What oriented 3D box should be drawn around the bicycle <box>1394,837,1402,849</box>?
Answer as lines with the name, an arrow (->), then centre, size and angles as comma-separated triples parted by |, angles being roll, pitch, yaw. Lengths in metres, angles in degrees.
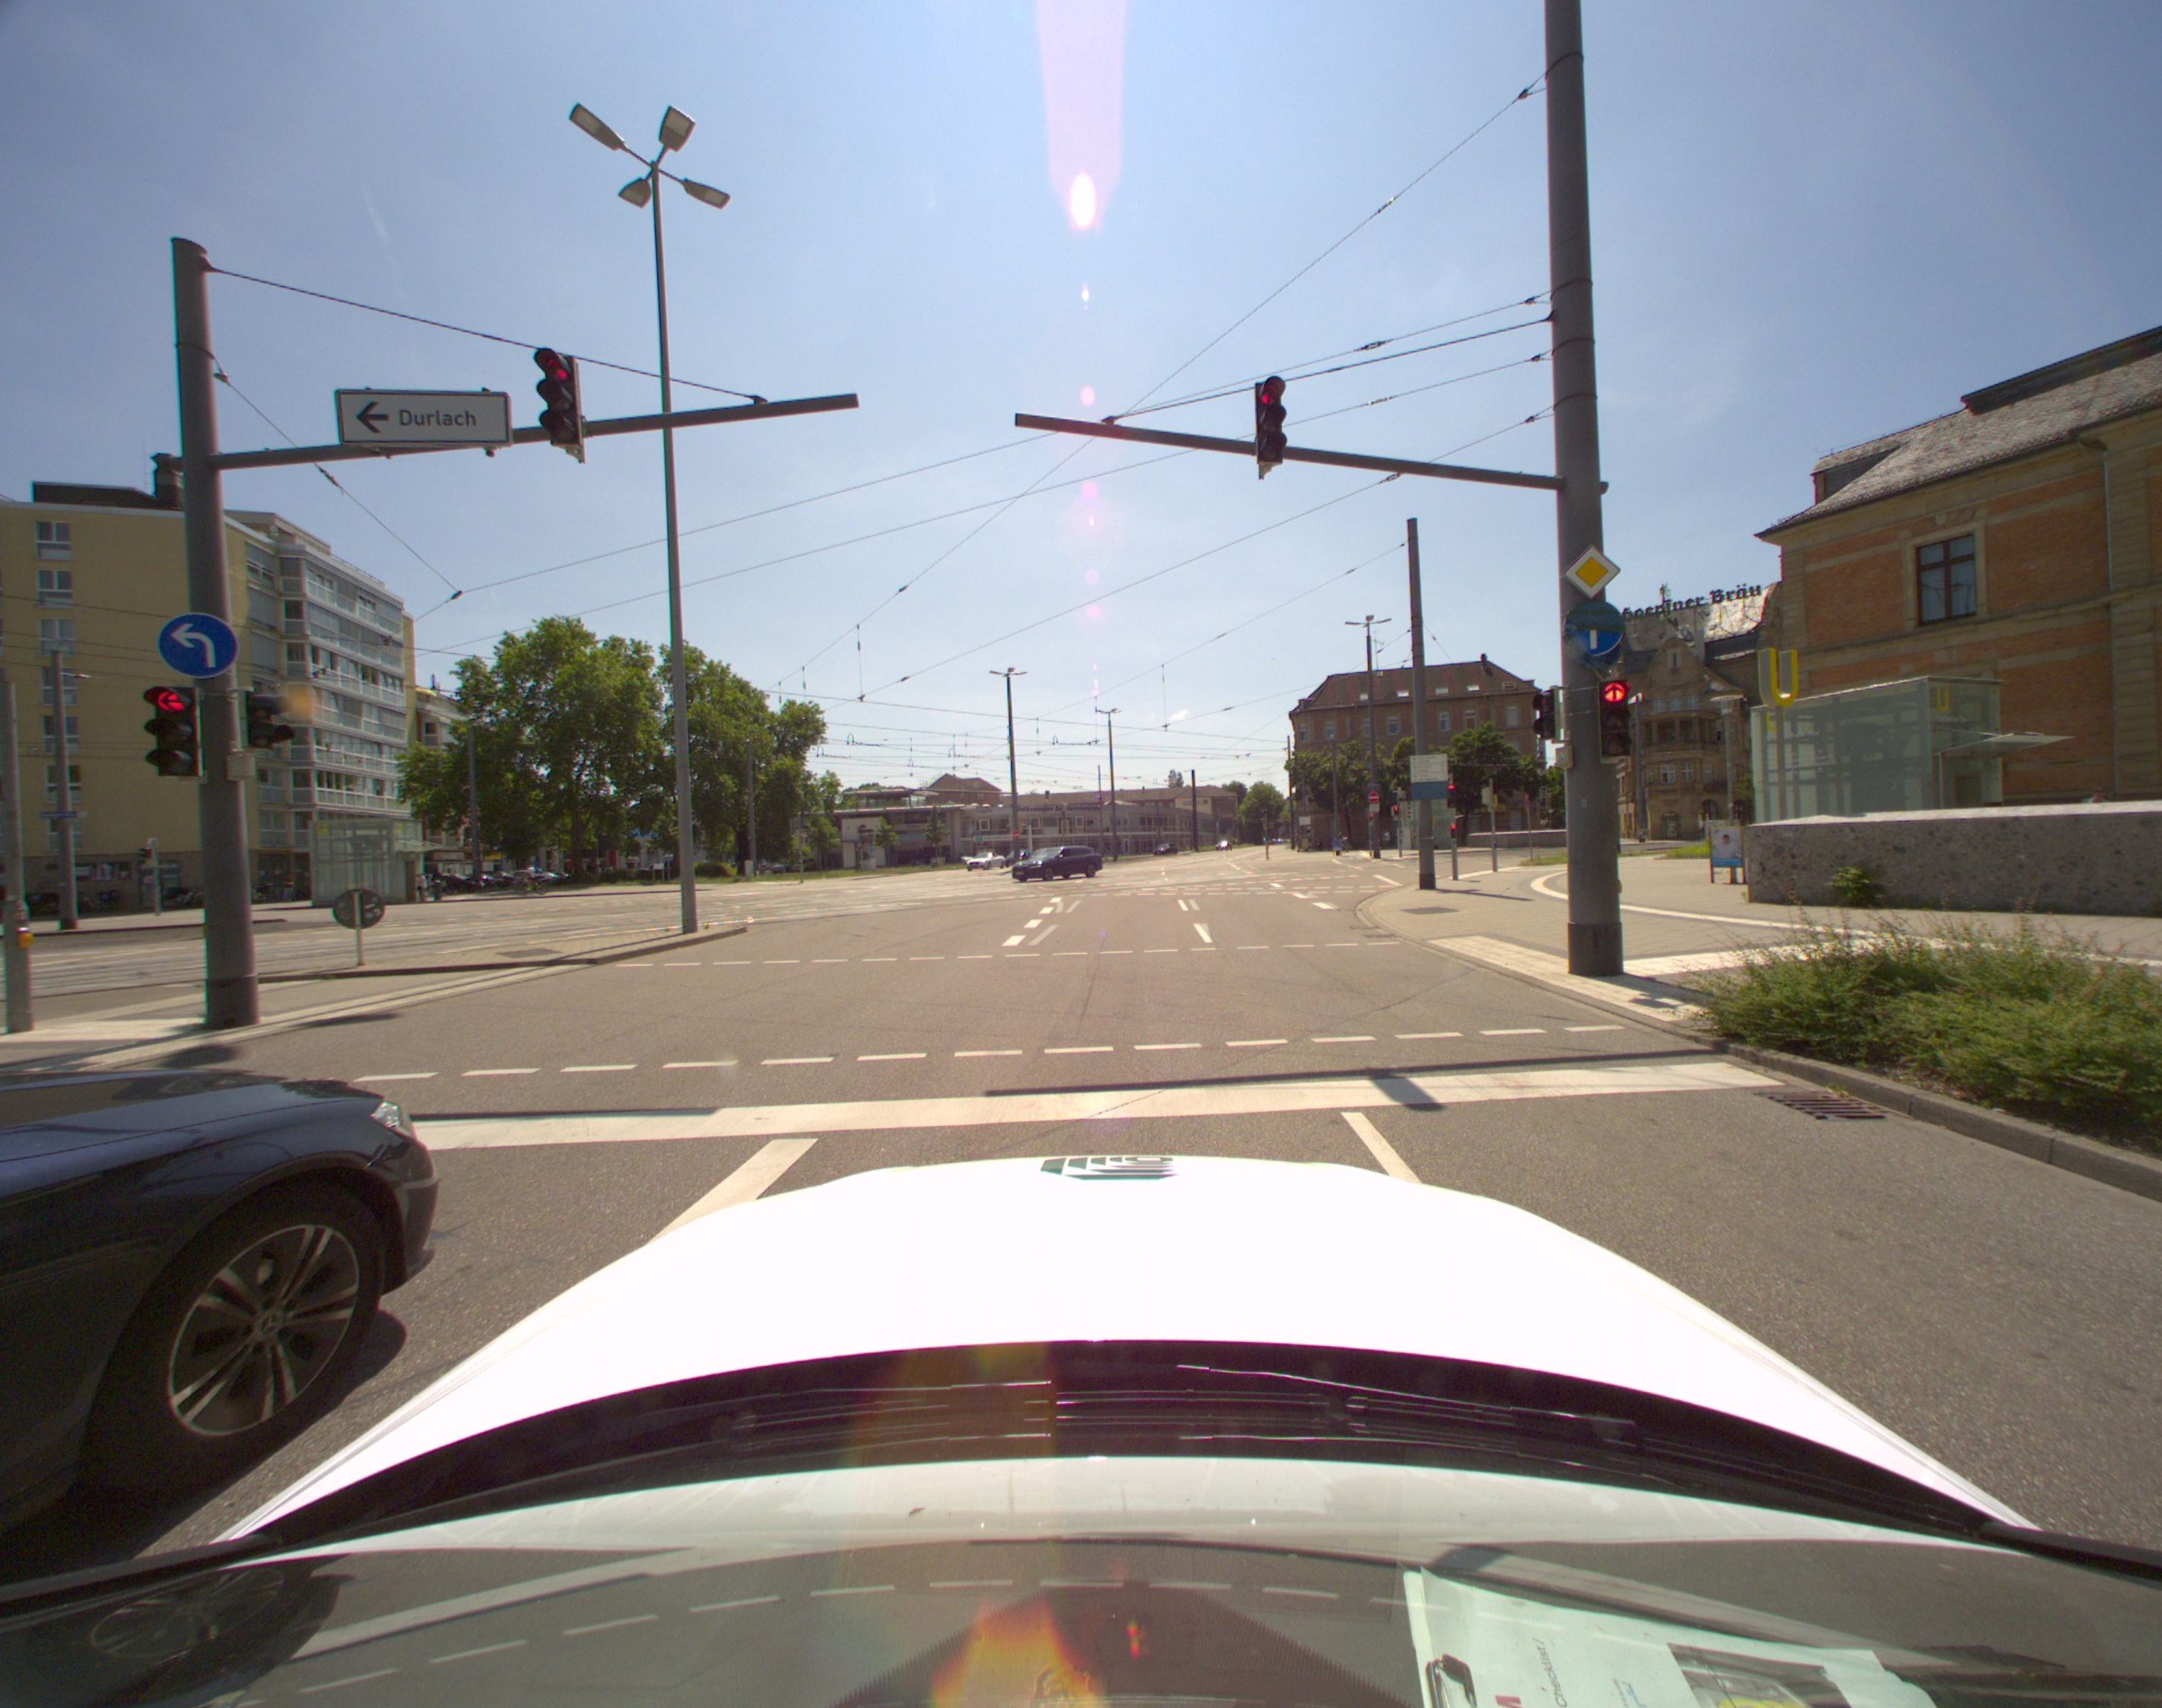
bicycle -> 30.479, -1.027, 78.290 | 0.546, 1.120, 1.938 | -2, 0, 18

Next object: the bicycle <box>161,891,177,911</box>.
bicycle -> -51.715, 2.655, 46.198 | 0.435, 1.026, 1.426 | -2, 0, -42

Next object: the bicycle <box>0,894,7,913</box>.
bicycle -> -58.953, 2.694, 44.244 | 0.435, 1.026, 1.426 | -2, 0, -42

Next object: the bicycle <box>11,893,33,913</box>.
bicycle -> -57.882, 2.688, 44.522 | 0.435, 1.026, 1.426 | -2, 0, -42

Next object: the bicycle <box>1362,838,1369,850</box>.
bicycle -> 27.502, -0.970, 78.626 | 0.546, 1.119, 1.829 | -2, 0, 18

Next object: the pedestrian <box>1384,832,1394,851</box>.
pedestrian -> 27.354, -1.092, 72.396 | 0.463, 1.708, 0.634 | -2, 0, -28

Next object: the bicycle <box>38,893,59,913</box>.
bicycle -> -56.939, 2.684, 44.918 | 0.435, 1.026, 1.426 | -2, 0, -42

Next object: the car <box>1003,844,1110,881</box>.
car -> -1.047, 0.368, 37.519 | 1.975, 1.465, 4.875 | -2, 0, 45

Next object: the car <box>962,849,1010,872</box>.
car -> -7.521, 0.477, 64.903 | 2.061, 1.580, 4.866 | -2, 0, 15

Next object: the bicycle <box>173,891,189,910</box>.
bicycle -> -51.250, 2.653, 46.367 | 0.435, 1.026, 1.426 | -2, 0, -42

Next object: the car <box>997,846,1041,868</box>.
car -> -5.376, 0.232, 70.997 | 1.977, 1.700, 4.870 | -2, 0, 19

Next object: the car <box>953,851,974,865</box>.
car -> -14.541, 0.519, 100.838 | 1.913, 1.707, 4.002 | 0, 0, 2

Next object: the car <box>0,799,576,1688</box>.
car -> -2.951, 0.758, 0.712 | 1.790, 1.640, 4.808 | -2, 0, 2

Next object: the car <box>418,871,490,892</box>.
car -> -49.118, 2.114, 63.896 | 3.998, 1.420, 1.988 | -2, 0, -18

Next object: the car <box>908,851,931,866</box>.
car -> -20.028, 0.562, 101.151 | 1.913, 1.707, 4.002 | 0, 0, 2

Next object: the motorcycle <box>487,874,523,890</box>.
motorcycle -> -39.353, 1.932, 55.679 | 1.925, 0.961, 0.521 | -3, 0, -29

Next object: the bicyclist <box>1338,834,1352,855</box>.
bicyclist -> 22.082, -0.794, 68.062 | 1.065, 1.808, 0.475 | 0, -1, -23

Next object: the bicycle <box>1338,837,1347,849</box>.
bicycle -> 25.564, -1.033, 79.591 | 0.440, 1.146, 2.099 | -1, 0, 9

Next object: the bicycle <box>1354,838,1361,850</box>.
bicycle -> 26.684, -0.936, 78.579 | 0.546, 1.119, 1.830 | -2, 0, 22

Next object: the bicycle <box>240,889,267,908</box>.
bicycle -> -49.302, 2.654, 48.532 | 0.432, 1.026, 1.437 | -2, 0, -14

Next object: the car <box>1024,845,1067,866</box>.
car -> -2.939, 0.088, 69.067 | 1.977, 1.637, 4.870 | -2, 0, 19

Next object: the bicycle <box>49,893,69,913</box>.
bicycle -> -56.433, 2.681, 44.992 | 0.435, 1.026, 1.426 | -2, 0, -42

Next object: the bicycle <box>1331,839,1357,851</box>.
bicycle -> 21.981, -0.745, 68.021 | 2.115, 1.052, 0.687 | 0, -1, -23

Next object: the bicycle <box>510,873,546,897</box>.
bicycle -> -31.471, 1.758, 46.367 | 1.508, 1.216, 0.713 | -2, 0, -16

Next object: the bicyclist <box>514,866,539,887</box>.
bicyclist -> -31.551, 1.274, 46.340 | 0.927, 1.142, 0.713 | -2, 0, -15

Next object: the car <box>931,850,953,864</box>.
car -> -17.234, 0.343, 101.002 | 1.913, 1.707, 4.002 | 0, 0, 2

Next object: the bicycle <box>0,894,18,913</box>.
bicycle -> -58.482, 2.692, 44.371 | 0.435, 1.026, 1.426 | -2, 0, -42

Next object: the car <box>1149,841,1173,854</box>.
car -> 10.681, -0.873, 107.933 | 2.061, 1.682, 4.870 | -2, 0, 19

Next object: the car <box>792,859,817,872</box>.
car -> -34.827, 1.455, 102.555 | 1.763, 1.510, 4.322 | -2, 0, -3

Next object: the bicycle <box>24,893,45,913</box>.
bicycle -> -57.427, 2.686, 44.682 | 0.435, 1.026, 1.426 | -2, 0, -42

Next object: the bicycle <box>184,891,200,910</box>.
bicycle -> -50.828, 2.651, 46.556 | 0.435, 1.026, 1.426 | -2, 0, -42

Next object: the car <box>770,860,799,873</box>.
car -> -37.486, 1.591, 103.074 | 1.760, 1.510, 4.330 | -2, 0, 3

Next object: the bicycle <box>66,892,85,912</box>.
bicycle -> -55.936, 2.680, 45.313 | 0.435, 1.026, 1.426 | -2, 0, -42

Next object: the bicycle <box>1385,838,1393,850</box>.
bicycle -> 29.712, -0.938, 78.531 | 0.546, 1.119, 1.879 | -2, 0, 18

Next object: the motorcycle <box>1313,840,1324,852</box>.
motorcycle -> 23.075, -0.780, 79.122 | 0.577, 1.074, 1.949 | -2, 0, 6

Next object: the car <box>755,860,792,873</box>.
car -> -40.949, 1.720, 108.478 | 4.343, 1.510, 1.754 | -3, 0, -34

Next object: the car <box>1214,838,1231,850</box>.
car -> 22.275, -1.561, 127.908 | 1.977, 1.776, 4.019 | -1, -1, 19
